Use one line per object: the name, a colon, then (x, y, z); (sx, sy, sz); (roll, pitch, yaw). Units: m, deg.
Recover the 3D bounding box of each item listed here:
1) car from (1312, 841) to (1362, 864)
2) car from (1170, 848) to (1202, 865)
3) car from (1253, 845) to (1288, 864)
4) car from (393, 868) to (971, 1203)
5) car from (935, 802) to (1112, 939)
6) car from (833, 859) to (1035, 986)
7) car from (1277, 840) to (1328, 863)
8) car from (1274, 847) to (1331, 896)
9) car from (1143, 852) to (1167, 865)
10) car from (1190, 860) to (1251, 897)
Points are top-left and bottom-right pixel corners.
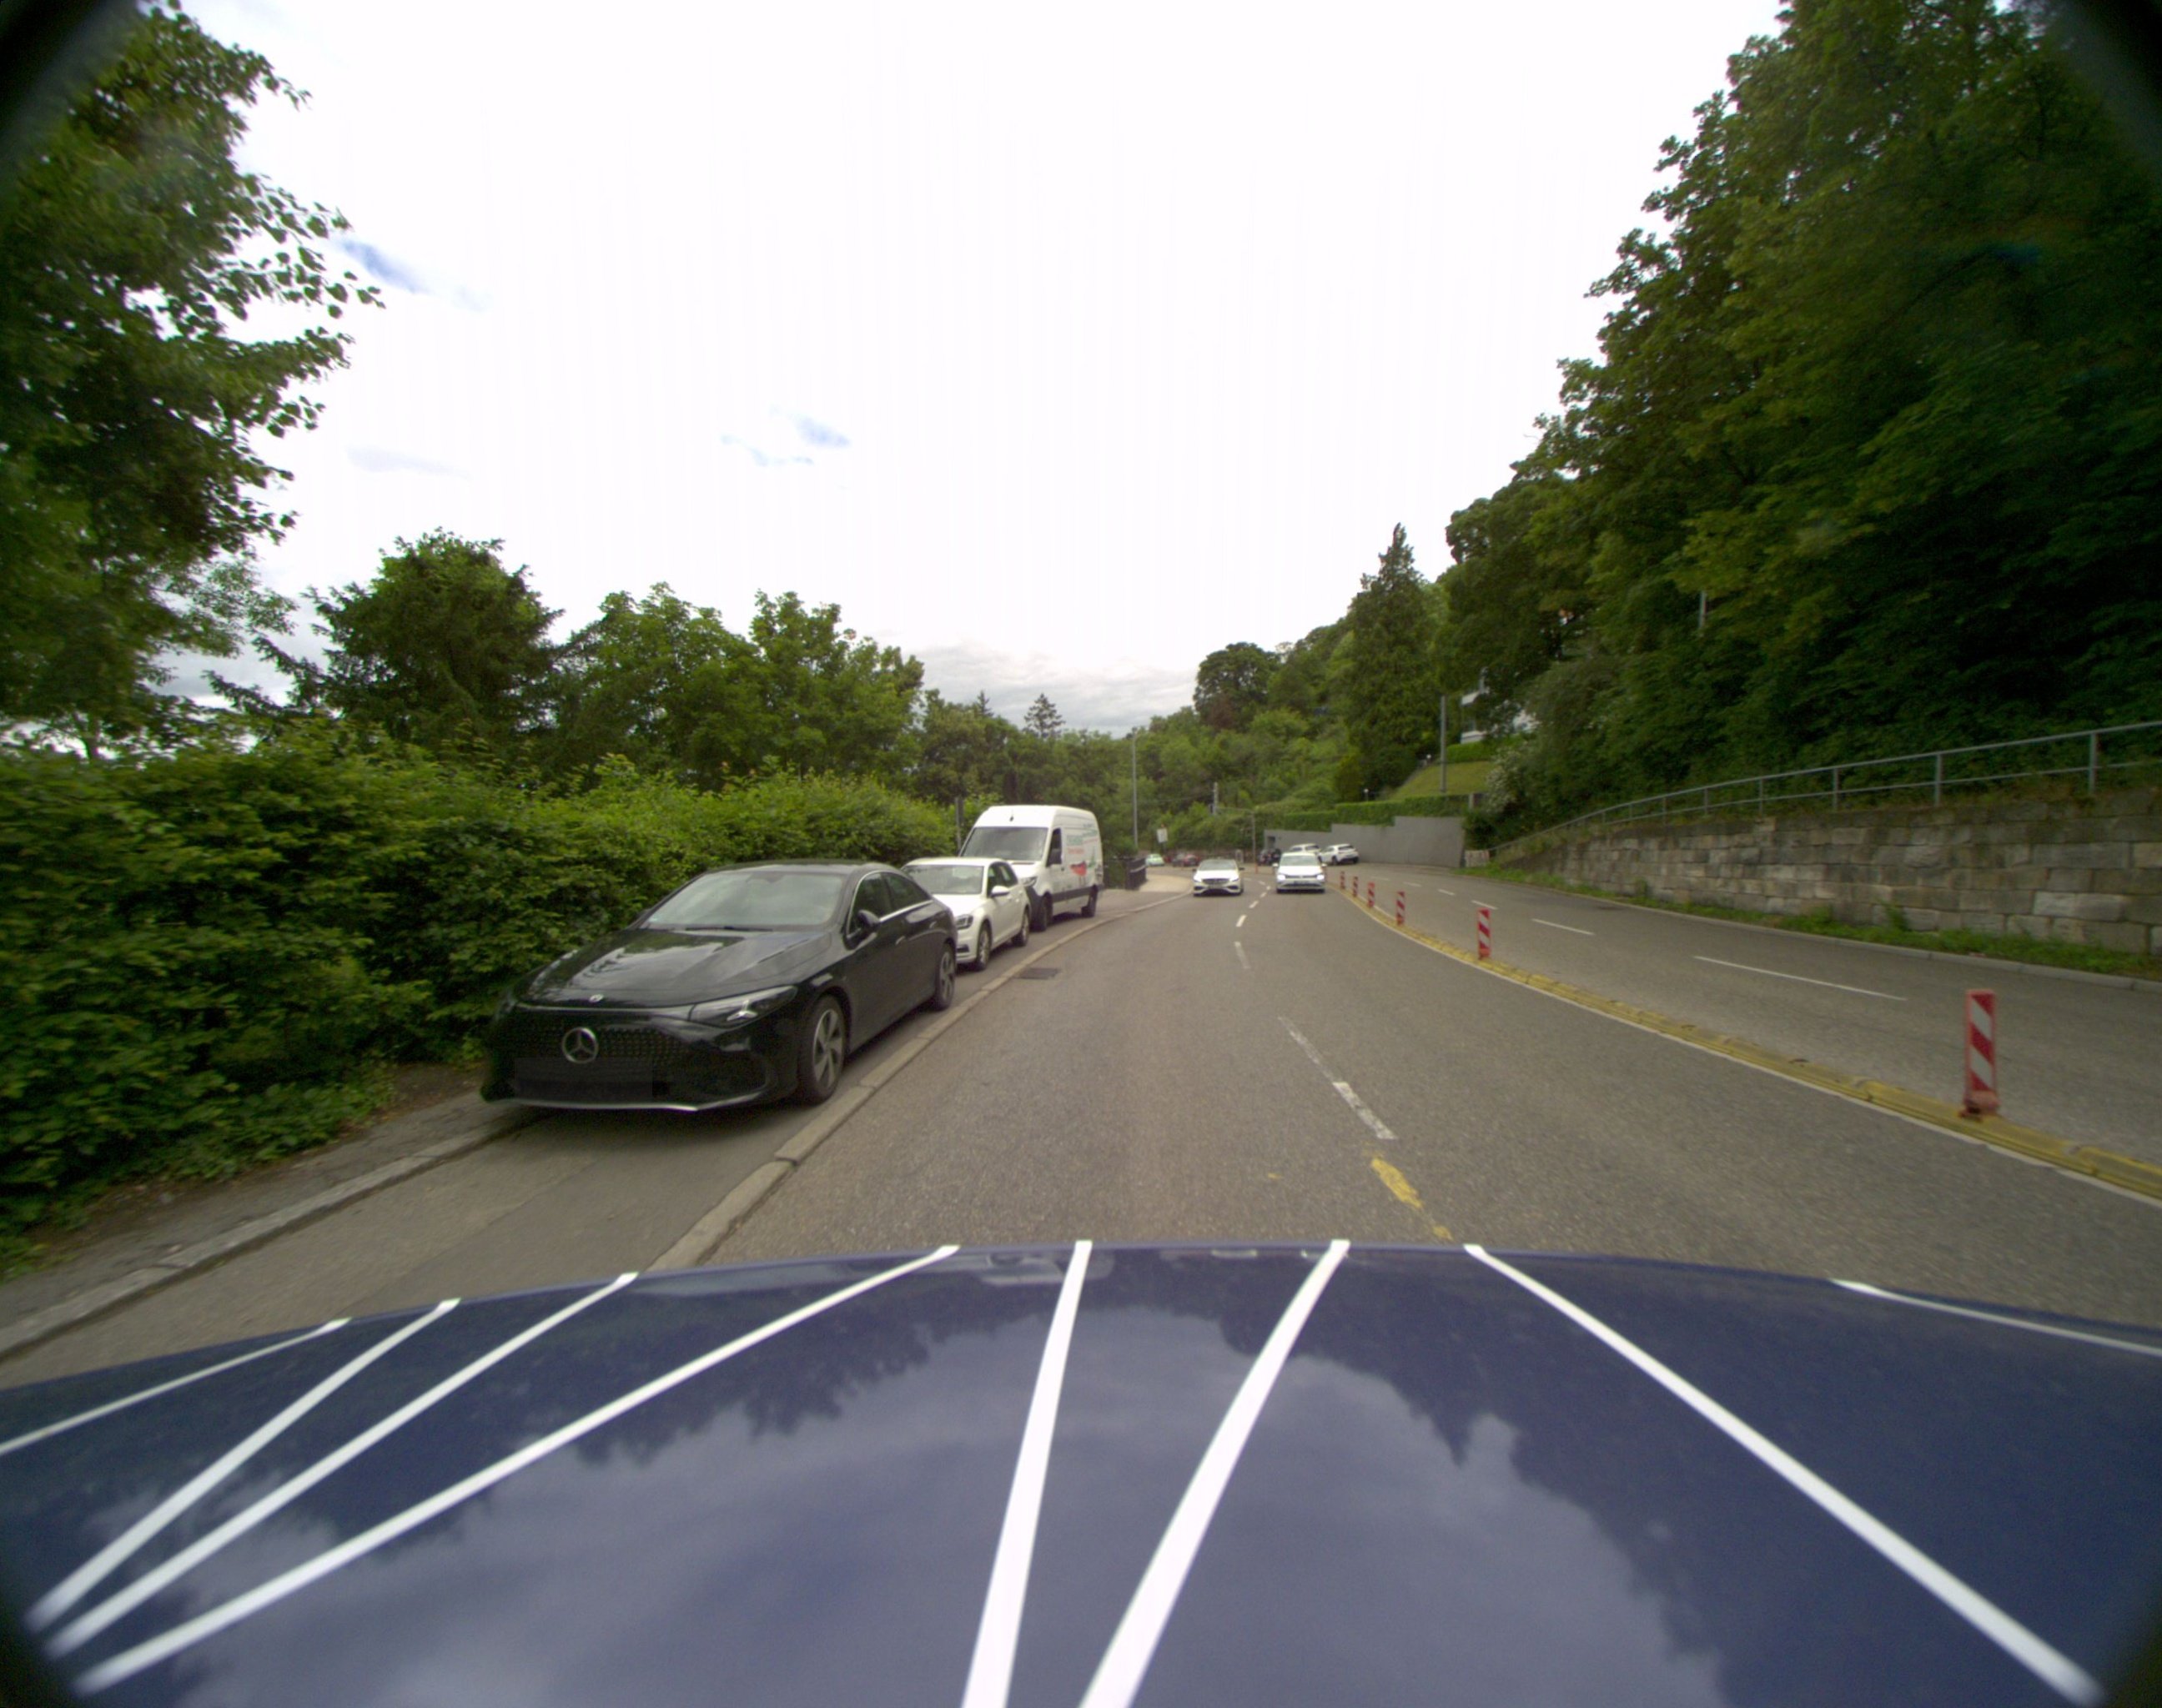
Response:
car: (19.779, -0.121, 58.910); (1.838, 1.564, 4.471); (-4, 1, -7)
car: (11.299, 0.263, 81.974); (1.718, 1.588, 4.200); (-4, 1, -19)
car: (17.240, 0.052, 69.289); (1.717, 1.564, 2.954); (-6, 1, -16)
car: (-2.251, 0.900, 5.927); (1.704, 1.455, 4.665); (-1, 0, 5)
car: (-1.005, 0.263, 17.068); (2.087, 2.509, 5.851); (1, 1, 16)
car: (-1.908, 0.839, 11.087); (1.704, 1.455, 3.837); (-1, 1, 8)
car: (18.753, -0.192, 64.587); (1.865, 1.721, 4.755); (-5, 1, -14)
car: (8.608, 0.626, 29.839); (1.884, 1.569, 4.003); (-4, 1, 13)
car: (8.809, 0.532, 90.786); (1.717, 1.458, 3.656); (-4, 1, -13)
car: (5.547, 0.922, 29.909); (1.795, 1.298, 4.106); (-3, -1, 18)
